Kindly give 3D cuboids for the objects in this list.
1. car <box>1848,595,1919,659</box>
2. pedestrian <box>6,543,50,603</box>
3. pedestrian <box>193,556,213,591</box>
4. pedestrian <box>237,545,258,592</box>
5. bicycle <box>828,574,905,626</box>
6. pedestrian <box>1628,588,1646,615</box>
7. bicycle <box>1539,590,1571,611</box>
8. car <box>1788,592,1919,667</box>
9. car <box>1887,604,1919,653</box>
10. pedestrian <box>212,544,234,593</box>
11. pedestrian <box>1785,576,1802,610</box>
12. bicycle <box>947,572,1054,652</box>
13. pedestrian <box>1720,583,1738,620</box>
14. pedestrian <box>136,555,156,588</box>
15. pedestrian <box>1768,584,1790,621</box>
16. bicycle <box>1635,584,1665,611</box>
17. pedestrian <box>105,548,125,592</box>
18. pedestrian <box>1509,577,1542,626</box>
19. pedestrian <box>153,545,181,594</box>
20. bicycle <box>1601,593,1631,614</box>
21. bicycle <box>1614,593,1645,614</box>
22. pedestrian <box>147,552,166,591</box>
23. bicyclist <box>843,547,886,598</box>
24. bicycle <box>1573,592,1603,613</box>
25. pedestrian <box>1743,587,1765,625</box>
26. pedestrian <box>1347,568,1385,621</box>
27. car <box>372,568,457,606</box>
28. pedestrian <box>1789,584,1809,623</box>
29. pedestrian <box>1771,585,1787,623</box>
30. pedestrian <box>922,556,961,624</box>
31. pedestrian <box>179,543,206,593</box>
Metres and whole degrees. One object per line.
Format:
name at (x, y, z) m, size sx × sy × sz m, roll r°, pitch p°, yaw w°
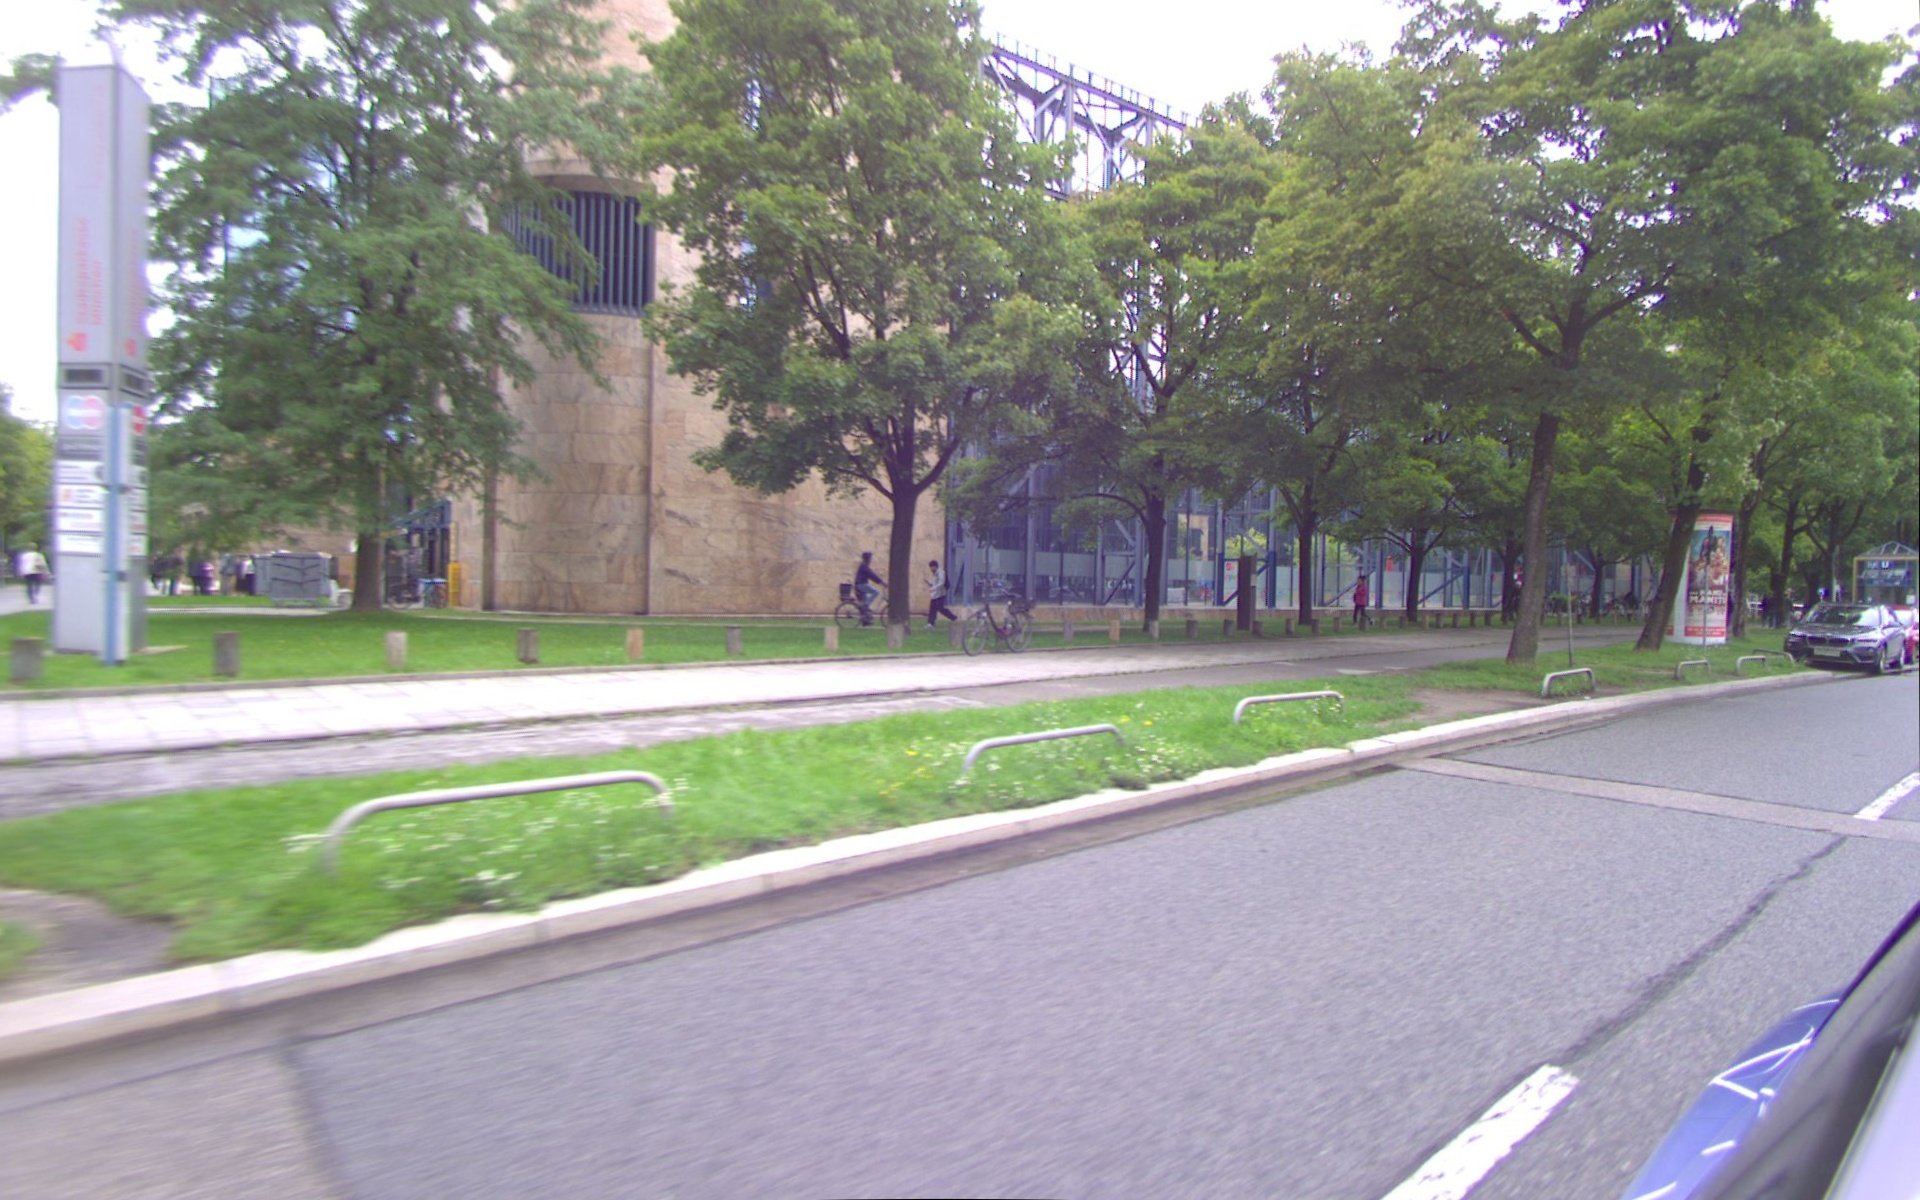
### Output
car at (25.762, 0.707, 27.709) m, size 3.558 × 1.593 × 1.555 m, roll 0°, pitch 2°, yaw -39°
pedestrian at (-26.863, -0.762, 29.185) m, size 0.849 × 1.699 × 0.589 m, roll 1°, pitch 1°, yaw -36°
pedestrian at (-27.988, -0.977, 37.417) m, size 0.418 × 1.299 × 0.507 m, roll 2°, pitch 1°, yaw 39°
pedestrian at (-26.035, -1.144, 36.981) m, size 0.591 × 1.699 × 0.495 m, roll 2°, pitch 1°, yaw 43°
bicycle at (-2.185, -0.004, 23.571) m, size 1.731 × 1.143 × 0.728 m, roll 1°, pitch 1°, yaw -5°
pedestrian at (31.025, 0.070, 46.377) m, size 0.418 × 1.193 × 0.507 m, roll 0°, pitch 3°, yaw -36°
bicycle at (28.236, 0.019, 47.981) m, size 2.026 × 0.952 × 0.572 m, roll -1°, pitch 2°, yaw -38°
car at (22.034, 0.660, 24.707) m, size 4.519 × 1.610 × 1.866 m, roll 0°, pitch 2°, yaw -39°
car at (29.492, 0.846, 30.468) m, size 4.117 × 1.398 × 1.627 m, roll 0°, pitch 2°, yaw -38°
pedestrian at (-26.138, -1.115, 35.893) m, size 0.582 × 1.699 × 0.563 m, roll 1°, pitch 1°, yaw -37°
pedestrian at (43.411, -0.382, 52.707) m, size 0.549 × 1.743 × 0.528 m, roll 0°, pitch 3°, yaw -40°
bicycle at (0.701, 0.185, 17.022) m, size 1.888 × 1.266 × 0.621 m, roll 0°, pitch 2°, yaw -43°
pedestrian at (35.368, 0.065, 46.530) m, size 0.419 × 1.648 × 0.506 m, roll 0°, pitch 3°, yaw -40°
pedestrian at (-39.316, -1.375, 48.886) m, size 0.584 × 1.589 × 0.421 m, roll 1°, pitch 1°, yaw -9°
pedestrian at (38.408, 0.113, 47.475) m, size 0.601 × 1.710 × 0.612 m, roll 0°, pitch 3°, yaw -40°
bicycle at (31.723, -0.104, 46.529) m, size 2.102 × 1.207 × 0.513 m, roll 0°, pitch 2°, yaw -38°
pedestrian at (-32.508, -1.146, 38.935) m, size 0.504 × 1.651 × 0.507 m, roll 1°, pitch 1°, yaw -28°
pedestrian at (19.749, 0.043, 35.356) m, size 0.632 × 1.665 × 0.739 m, roll 0°, pitch 3°, yaw -34°
pedestrian at (-27.569, -1.056, 35.186) m, size 0.585 × 1.699 × 0.501 m, roll 2°, pitch 1°, yaw 15°
bicycle at (30.772, 0.181, 47.450) m, size 2.102 × 0.952 × 0.513 m, roll 1°, pitch 1°, yaw -38°
bicycle at (31.148, 0.178, 47.066) m, size 2.102 × 0.952 × 0.513 m, roll 1°, pitch 1°, yaw -38°
pedestrian at (-32.610, -1.159, 41.099) m, size 0.503 × 1.589 × 0.421 m, roll 1°, pitch 1°, yaw -25°
bicyclist at (-2.222, -0.631, 23.551) m, size 0.940 × 1.143 × 0.728 m, roll 1°, pitch 1°, yaw -5°
bicycle at (29.488, 0.101, 47.512) m, size 1.730 × 0.952 × 0.619 m, roll 1°, pitch 1°, yaw -38°
pedestrian at (35.978, 0.262, 45.875) m, size 0.426 × 1.661 × 0.613 m, roll 0°, pitch 3°, yaw -36°
pedestrian at (13.244, -0.176, 33.058) m, size 0.846 × 1.665 × 0.740 m, roll 2°, pitch 3°, yaw -2°
car at (-15.715, -0.389, 29.191) m, size 2.042 × 1.026 × 0.677 m, roll -2°, pitch 3°, yaw -41°
pedestrian at (38.836, 0.162, 46.851) m, size 0.649 × 1.743 × 0.528 m, roll 0°, pitch 3°, yaw -40°
pedestrian at (37.288, 0.187, 46.083) m, size 0.343 × 1.711 × 0.434 m, roll 1°, pitch 1°, yaw -30°
pedestrian at (-0.471, -0.262, 25.485) m, size 0.860 × 1.666 × 0.574 m, roll 1°, pitch 1°, yaw -12°
pedestrian at (-26.649, -1.107, 35.142) m, size 0.581 × 1.699 × 0.504 m, roll 1°, pitch 1°, yaw -15°
